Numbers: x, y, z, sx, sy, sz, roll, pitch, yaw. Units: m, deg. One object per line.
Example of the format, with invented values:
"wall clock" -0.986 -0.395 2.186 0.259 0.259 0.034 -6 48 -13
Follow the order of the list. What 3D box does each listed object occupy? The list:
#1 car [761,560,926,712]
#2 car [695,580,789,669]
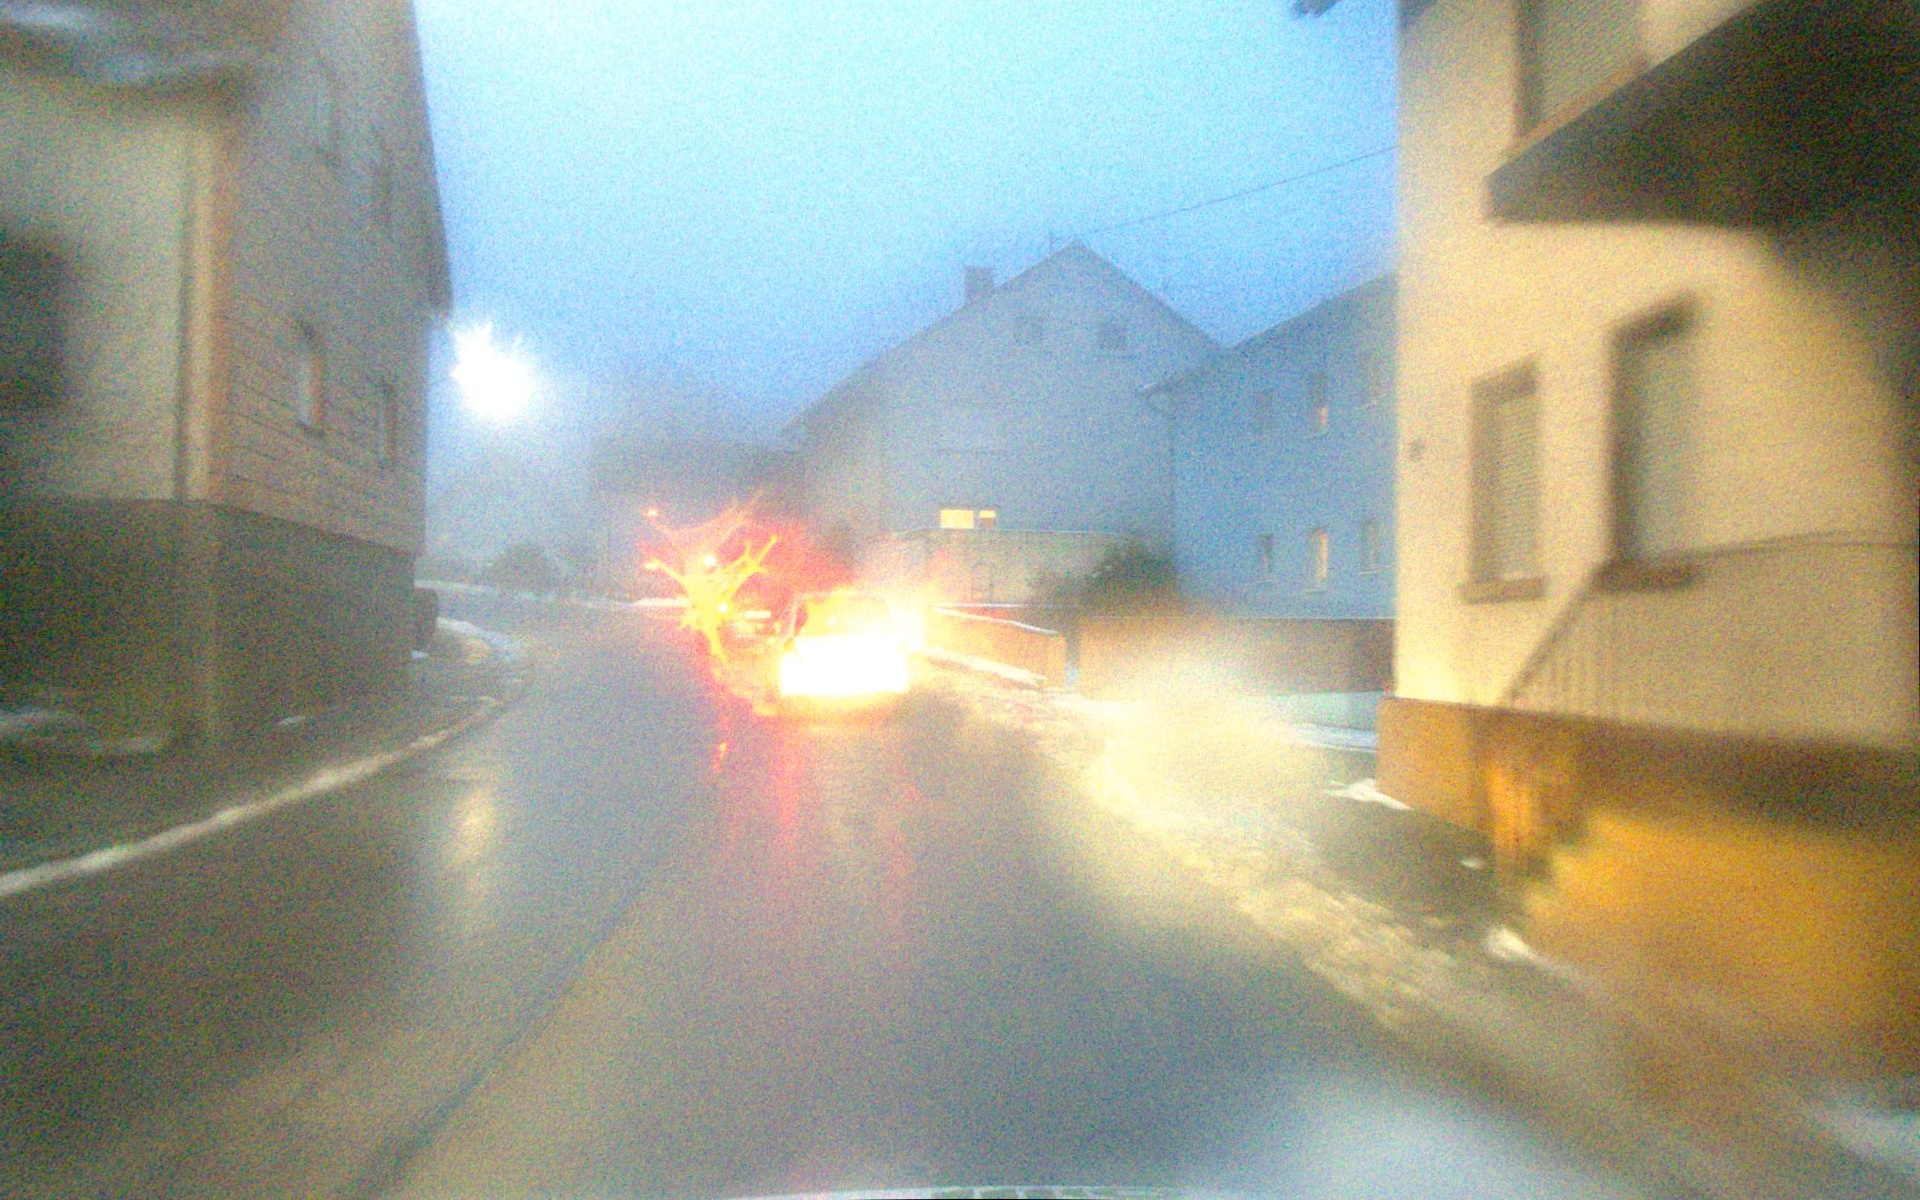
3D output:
"car" -1.497 0.439 20.112 1.615 1.624 3.691 2 -2 -9
"car" -4.434 0.500 33.321 1.616 1.624 3.689 3 -2 -11
